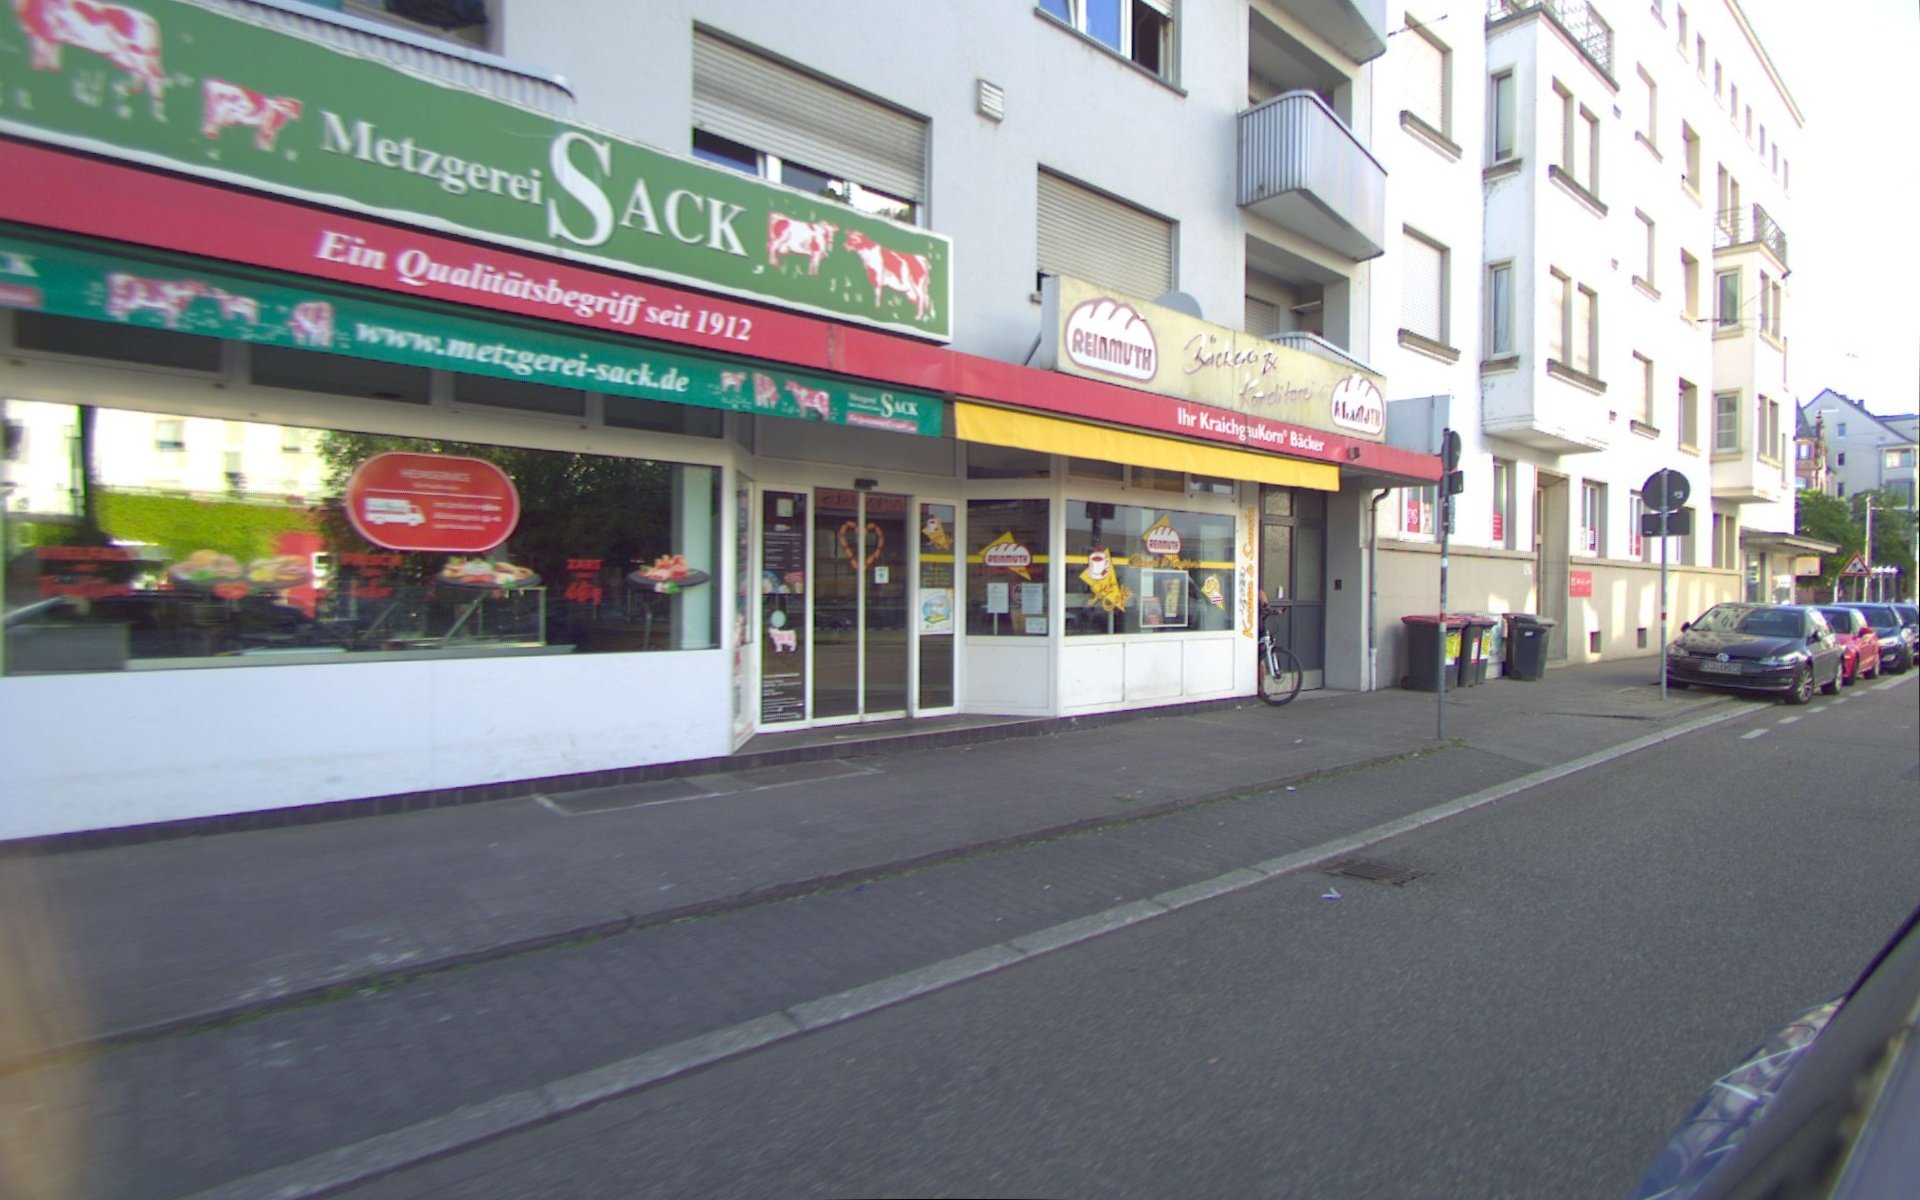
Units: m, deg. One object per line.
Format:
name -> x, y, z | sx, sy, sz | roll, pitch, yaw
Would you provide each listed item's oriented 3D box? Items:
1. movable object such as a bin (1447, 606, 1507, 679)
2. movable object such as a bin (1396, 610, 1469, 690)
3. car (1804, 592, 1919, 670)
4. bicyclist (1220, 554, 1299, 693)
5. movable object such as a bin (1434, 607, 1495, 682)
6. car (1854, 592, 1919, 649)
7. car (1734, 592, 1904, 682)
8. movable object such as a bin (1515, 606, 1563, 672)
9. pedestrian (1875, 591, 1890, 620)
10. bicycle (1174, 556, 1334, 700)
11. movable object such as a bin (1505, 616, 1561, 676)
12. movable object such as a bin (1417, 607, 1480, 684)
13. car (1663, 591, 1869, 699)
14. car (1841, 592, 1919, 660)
movable object such as a bin -> 8.031, 0.643, 15.724 | 0.560, 1.086, 0.676 | 0, 0, -42
movable object such as a bin -> 6.777, 0.699, 14.518 | 0.607, 1.086, 0.771 | 0, 0, -42
car -> 20.834, 0.625, 22.956 | 4.023, 1.525, 1.862 | 0, 3, -40
bicyclist -> 3.859, 0.283, 13.065 | 0.500, 1.724, 0.845 | 0, 0, -37
movable object such as a bin -> 7.631, 0.661, 15.312 | 0.560, 1.086, 0.676 | 0, 0, -42
car -> 28.185, 0.561, 30.019 | 4.832, 1.525, 1.753 | 0, 3, -40
car -> 16.826, 0.634, 19.773 | 3.918, 1.490, 1.862 | 0, 3, -40
movable object such as a bin -> 9.739, 0.639, 17.020 | 0.545, 1.070, 0.559 | 0, 0, -42
pedestrian -> 63.021, 0.362, 69.113 | 0.645, 1.980, 0.577 | 1, 0, 33
bicycle -> 3.771, 0.329, 13.126 | 0.761, 1.732, 1.936 | 0, 0, -37
movable object such as a bin -> 9.305, 0.734, 16.446 | 0.560, 0.928, 0.656 | 0, 0, -42
movable object such as a bin -> 7.204, 0.661, 14.929 | 0.560, 1.086, 0.676 | 0, 0, -42
car -> 12.991, 0.619, 16.219 | 4.281, 1.424, 1.715 | 0, 3, -40
car -> 24.124, 0.616, 25.960 | 4.432, 1.525, 1.860 | -1, 4, -44
